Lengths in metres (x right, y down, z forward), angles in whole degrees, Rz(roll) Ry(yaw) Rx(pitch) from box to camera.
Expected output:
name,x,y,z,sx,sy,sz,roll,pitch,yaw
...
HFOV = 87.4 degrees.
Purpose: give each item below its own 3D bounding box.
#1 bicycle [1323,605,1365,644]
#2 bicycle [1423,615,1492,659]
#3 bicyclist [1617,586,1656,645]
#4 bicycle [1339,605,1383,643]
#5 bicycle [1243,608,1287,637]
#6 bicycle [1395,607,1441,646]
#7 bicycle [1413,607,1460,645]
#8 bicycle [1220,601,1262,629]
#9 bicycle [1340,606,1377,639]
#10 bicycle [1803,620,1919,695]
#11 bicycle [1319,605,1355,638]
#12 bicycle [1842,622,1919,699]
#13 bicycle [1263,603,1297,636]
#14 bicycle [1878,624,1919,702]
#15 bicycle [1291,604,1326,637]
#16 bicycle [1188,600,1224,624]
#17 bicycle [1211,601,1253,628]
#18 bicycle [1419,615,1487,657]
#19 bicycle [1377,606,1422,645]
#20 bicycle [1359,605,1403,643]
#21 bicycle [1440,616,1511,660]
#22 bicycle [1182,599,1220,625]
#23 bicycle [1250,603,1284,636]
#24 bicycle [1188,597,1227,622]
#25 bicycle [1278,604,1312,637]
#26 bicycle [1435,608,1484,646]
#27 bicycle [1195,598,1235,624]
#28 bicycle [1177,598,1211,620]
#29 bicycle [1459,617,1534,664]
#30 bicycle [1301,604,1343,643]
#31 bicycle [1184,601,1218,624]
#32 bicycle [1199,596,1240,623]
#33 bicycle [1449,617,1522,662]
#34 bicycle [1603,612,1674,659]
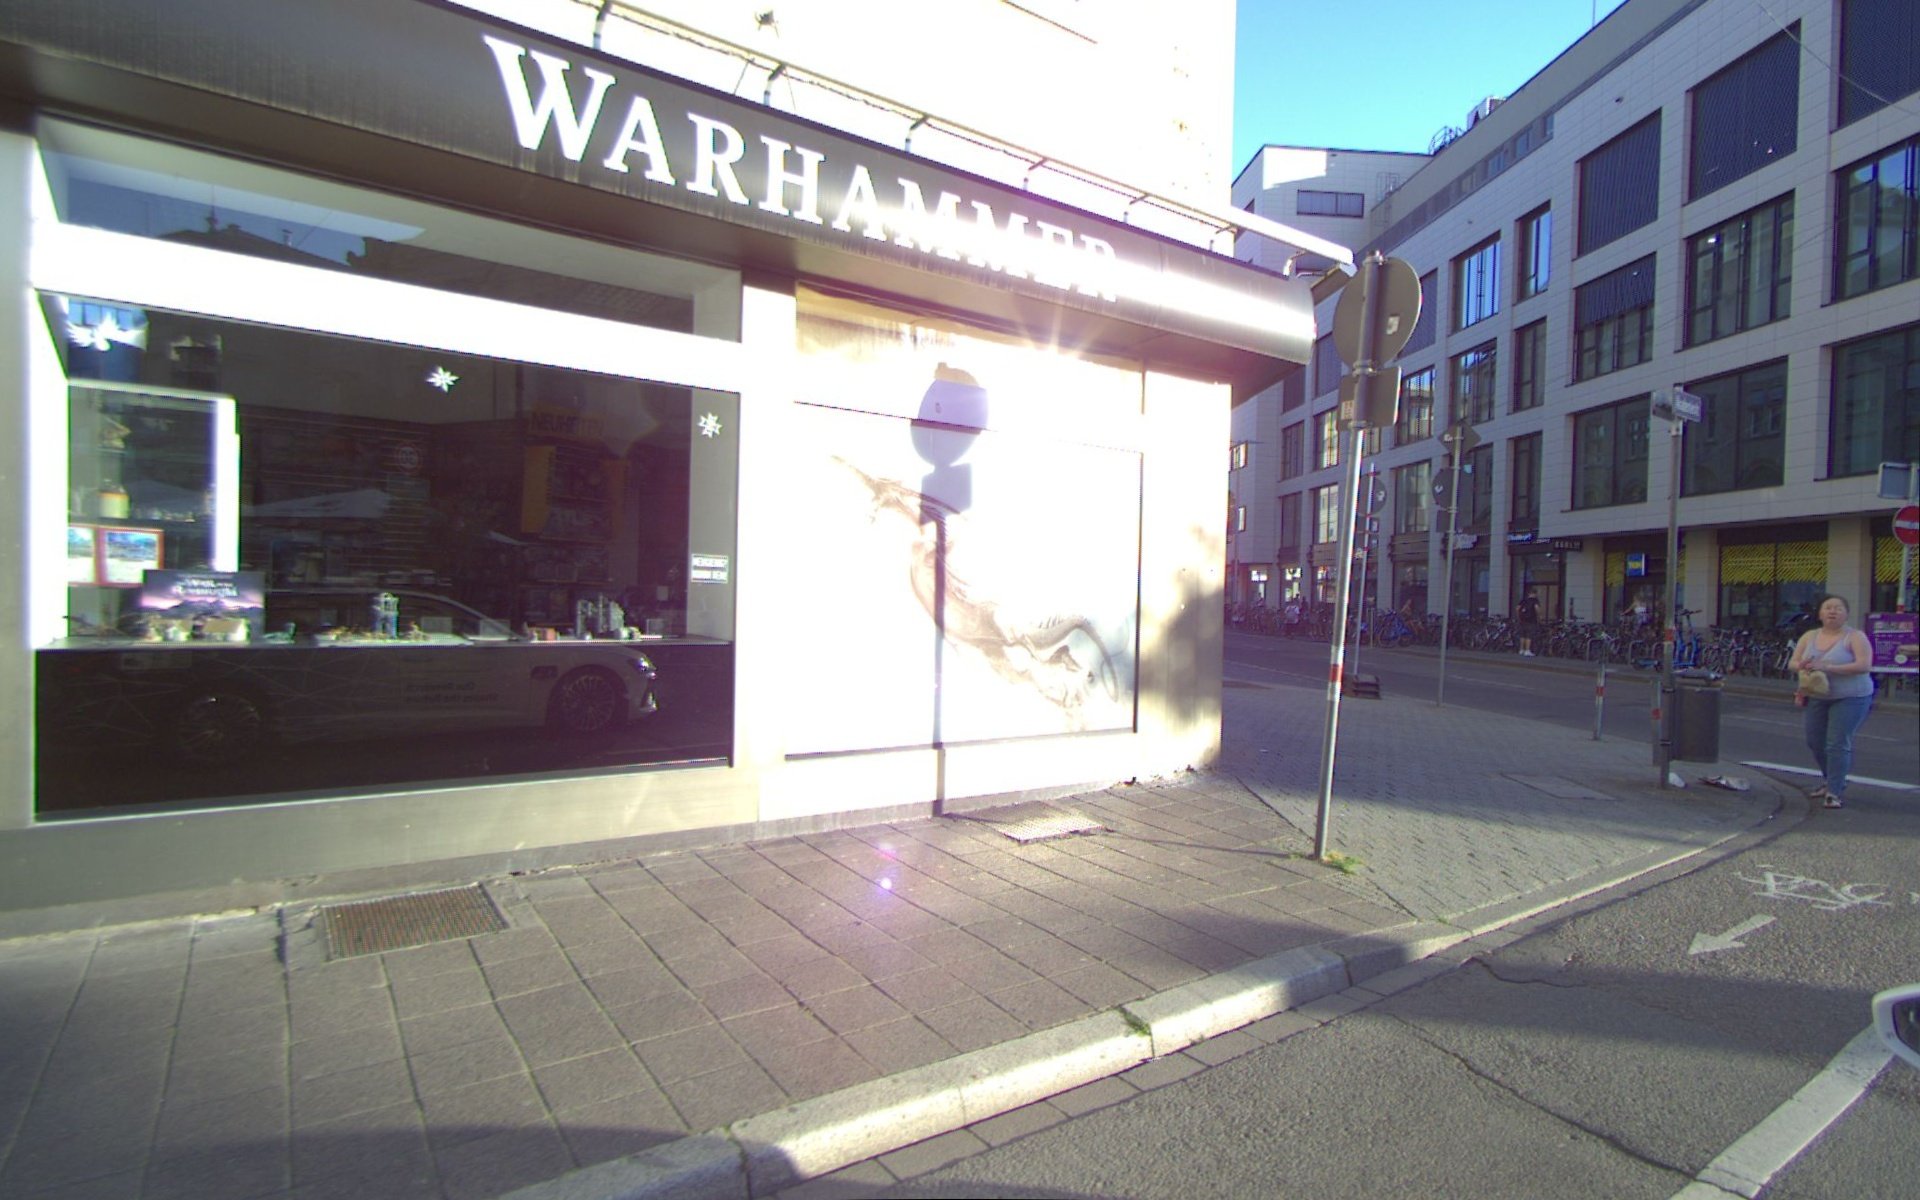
name,x,y,z,sx,sy,sz,roll,pitch,yaw
bicycle,13.477,0.835,35.313,0.504,1.271,1.977,2,1,-6
bicycle,15.781,1.171,31.875,1.941,1.271,0.513,2,1,-5
bicyclist,19.989,0.444,29.688,0.671,1.718,0.644,1,1,-3
bicycle,14.118,0.824,35.413,0.504,1.271,1.977,2,1,-6
bicycle,14.564,1.062,48.004,1.941,1.271,0.513,2,1,-5
bicycle,16.203,0.915,35.598,0.504,1.271,1.977,2,1,-6
bicycle,16.887,0.904,35.643,0.504,1.271,1.977,2,1,-6
bicycle,13.716,0.740,49.022,1.945,1.271,0.512,2,1,-13
bicycle,16.313,0.919,41.201,0.504,1.271,1.977,2,1,-6
bicycle,16.538,1.051,18.335,1.942,1.271,0.513,2,1,-7
bicycle,15.458,0.882,41.209,0.504,1.271,1.977,2,1,-6
bicycle,16.567,1.062,17.547,1.941,1.271,0.513,2,1,-5
bicycle,13.058,0.792,41.020,0.504,1.271,1.977,2,1,-6
bicycle,16.535,1.076,16.785,1.941,1.271,0.513,2,1,-3
bicycle,14.260,0.841,41.164,0.504,1.271,1.977,2,1,-6
bicycle,14.379,0.698,58.735,1.945,1.271,0.512,2,1,-13
bicycle,13.528,0.738,49.967,1.945,1.271,0.512,2,1,-13
bicycle,16.009,1.177,32.617,1.941,1.271,0.513,2,1,-5
bicycle,15.539,0.879,35.567,0.504,1.271,1.977,2,1,-6
bicycle,14.833,0.829,35.447,0.504,1.271,1.977,2,1,-6
bicycle,15.979,1.185,31.169,1.941,1.271,0.513,2,1,-5
bicycle,12.946,0.648,53.973,1.945,1.271,0.512,2,1,-13
bicycle,12.442,0.771,40.756,0.504,1.271,1.977,2,1,-6
bicycle,13.109,0.504,53.270,1.945,1.271,0.512,2,1,-13
bicycle,13.684,0.810,41.072,0.504,1.271,1.977,2,1,-6
bicycle,17.634,0.934,35.518,0.504,1.271,1.977,2,1,-6
bicycle,13.216,0.549,52.142,1.945,1.271,0.512,2,1,-13
bicycle,14.244,0.525,61.205,1.945,1.271,0.512,2,1,-13
bicycle,15.792,1.191,29.577,1.941,1.271,0.513,2,1,-5
bicycle,12.671,0.799,35.202,0.504,1.271,1.977,2,1,-6
bicycle,14.498,0.741,60.501,1.945,1.271,0.512,2,1,-13
bicycle,13.279,0.480,51.356,1.945,1.271,0.512,2,1,-13
bicycle,15.884,1.188,30.365,1.941,1.271,0.513,2,1,-5
bicycle,19.973,1.030,29.635,0.601,1.271,1.977,2,1,-4
